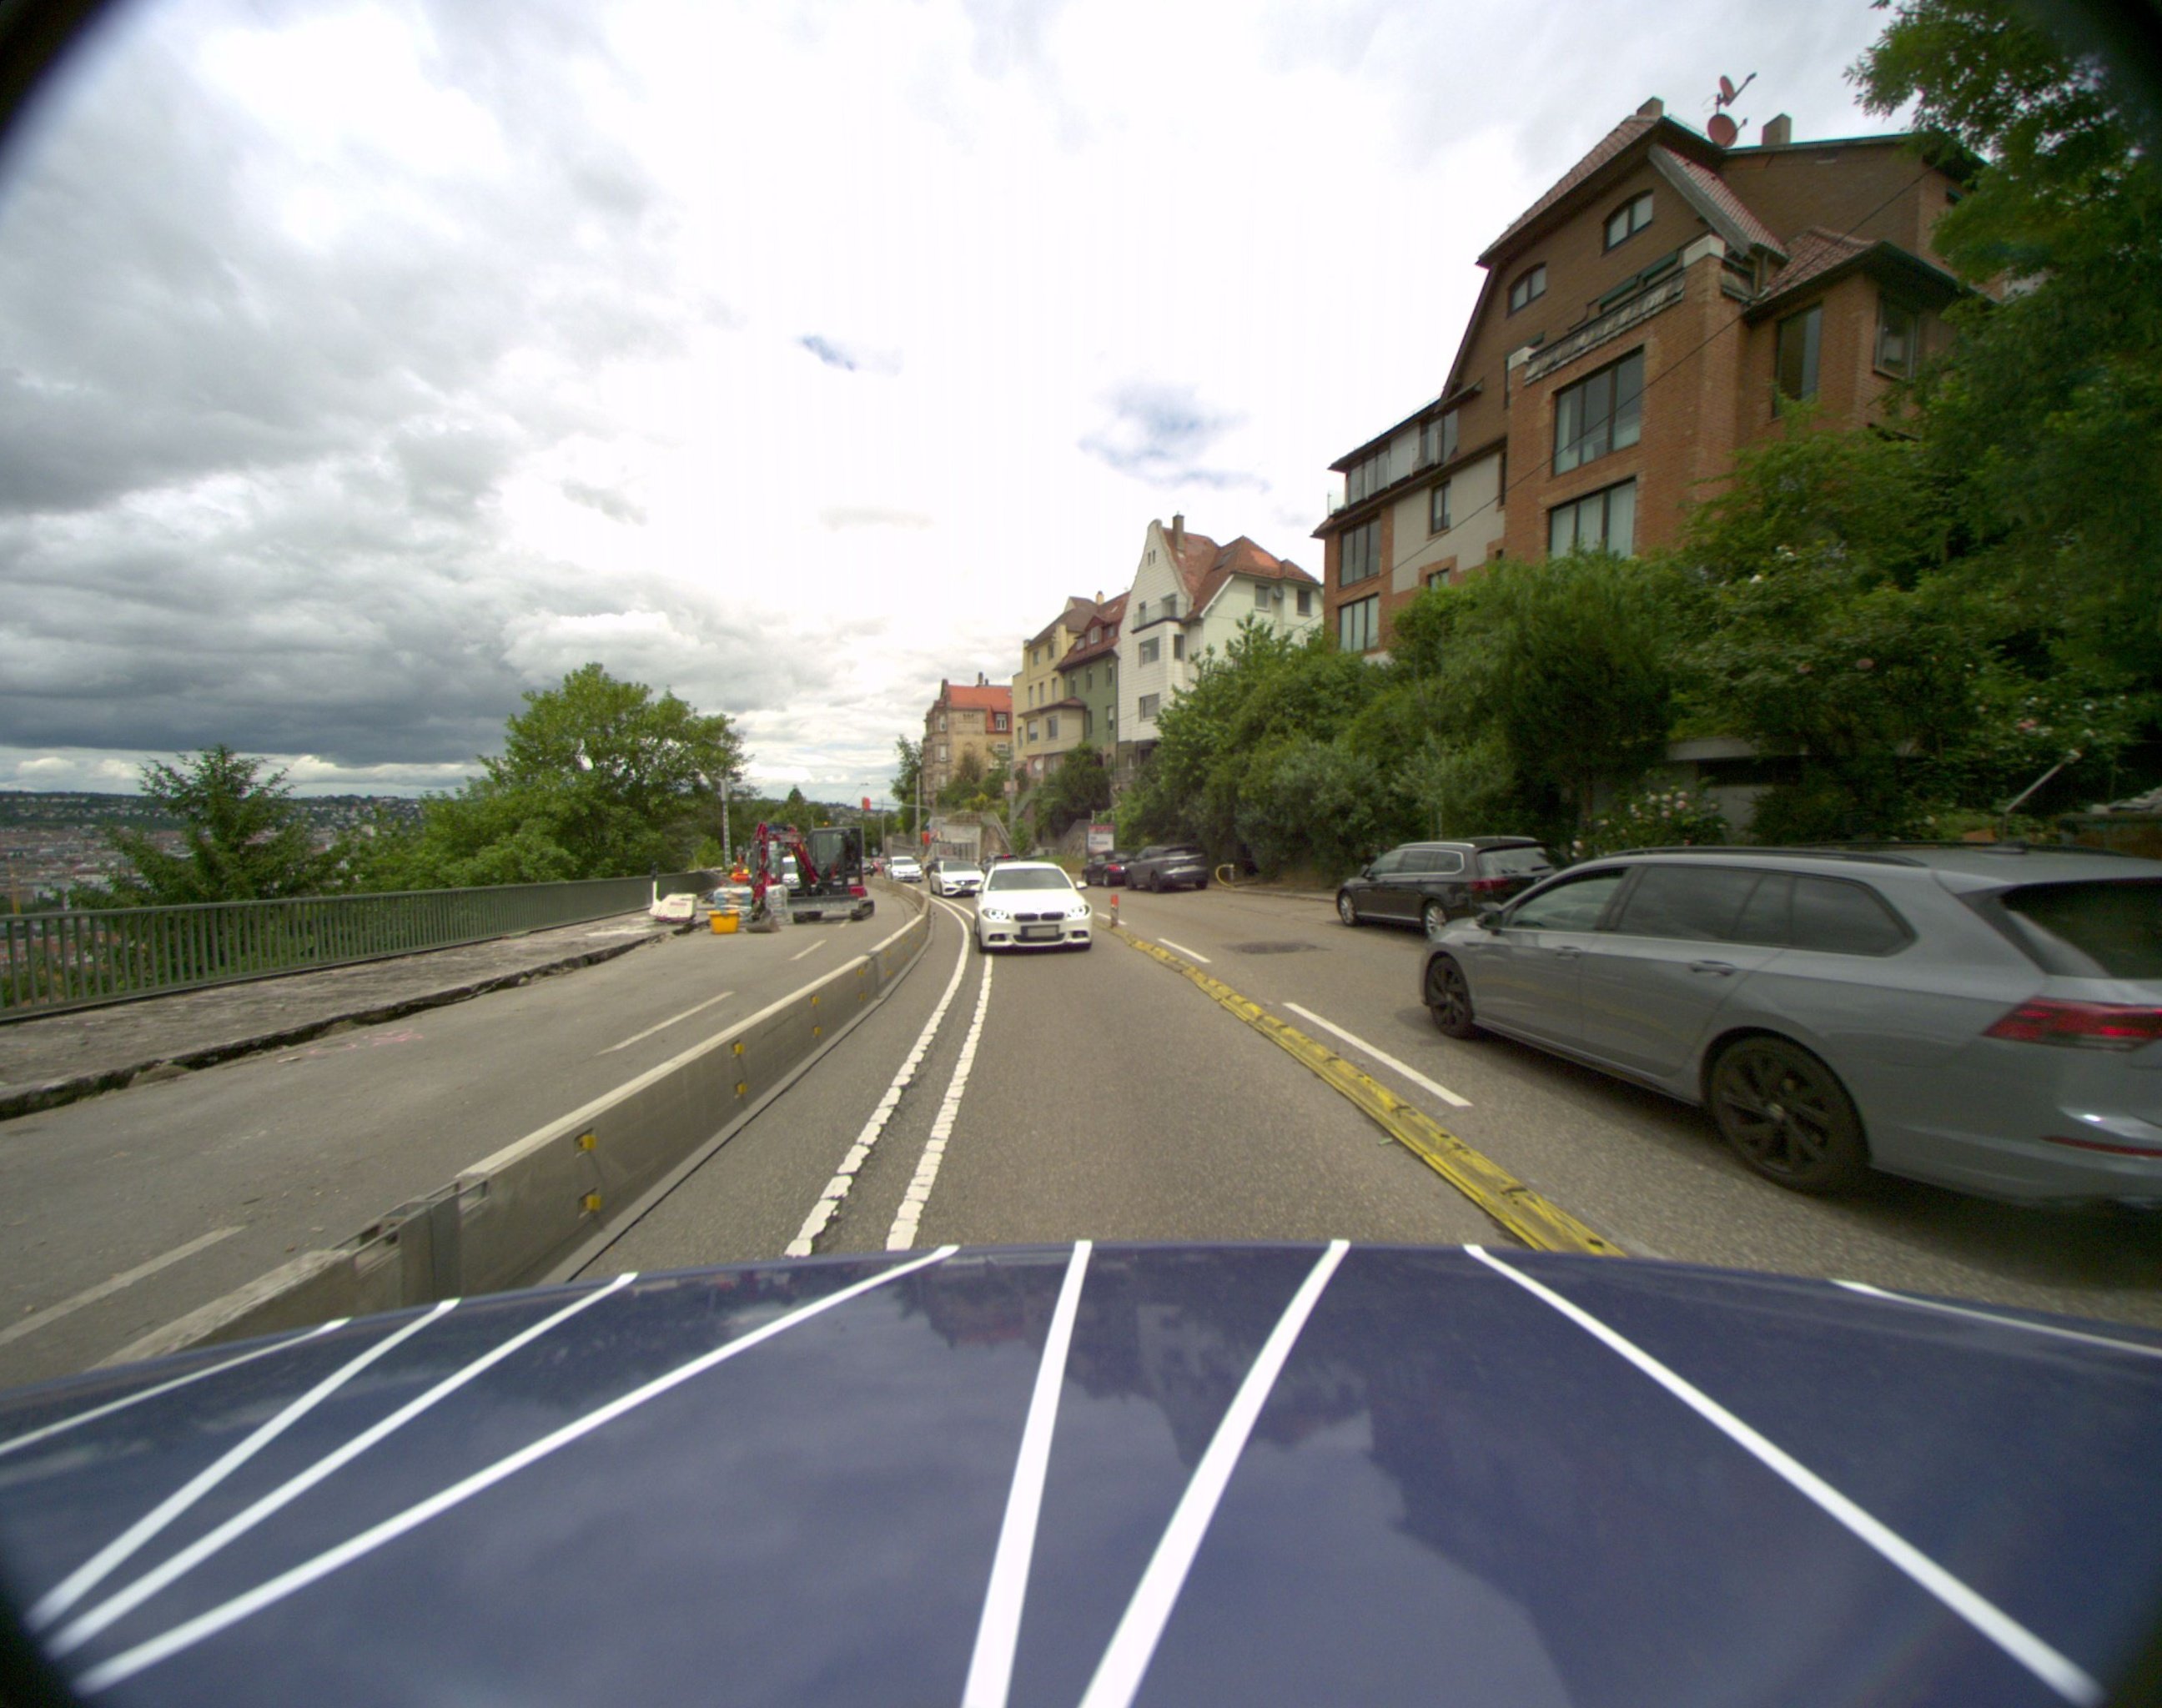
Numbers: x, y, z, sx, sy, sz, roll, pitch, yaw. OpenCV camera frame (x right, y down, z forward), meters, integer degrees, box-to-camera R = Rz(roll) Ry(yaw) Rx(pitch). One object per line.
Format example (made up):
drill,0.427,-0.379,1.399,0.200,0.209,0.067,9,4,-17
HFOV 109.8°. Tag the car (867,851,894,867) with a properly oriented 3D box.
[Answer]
car,-19.899,0.492,75.301,1.803,1.474,4.320,-4,2,-23

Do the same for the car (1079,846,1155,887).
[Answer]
car,1.435,0.498,32.015,1.801,1.502,3.993,-5,2,-19

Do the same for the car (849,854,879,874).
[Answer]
car,-17.830,0.792,62.303,1.802,1.501,3.992,1,0,-23

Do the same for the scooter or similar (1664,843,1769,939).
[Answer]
scooter or similar,8.750,0.480,10.510,0.417,1.225,1.121,-4,1,-3

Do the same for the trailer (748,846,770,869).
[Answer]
trailer,-37.256,0.411,87.949,2.116,2.535,5.109,0,0,-21

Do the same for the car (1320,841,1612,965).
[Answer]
car,5.668,0.599,12.017,1.741,1.443,4.680,-5,1,-7

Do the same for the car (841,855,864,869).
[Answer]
car,-26.004,0.856,86.383,1.804,1.438,4.352,-1,1,-27

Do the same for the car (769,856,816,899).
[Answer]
car,-13.031,1.003,34.443,1.840,1.769,4.261,-2,1,-20

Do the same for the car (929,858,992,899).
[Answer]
car,-4.874,0.911,30.308,1.795,1.472,4.238,-1,0,-18

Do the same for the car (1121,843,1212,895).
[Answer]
car,2.917,0.468,26.926,1.693,1.597,4.180,-4,2,-15

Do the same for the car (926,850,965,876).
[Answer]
car,-9.030,0.584,50.394,1.774,1.559,4.222,-3,1,-20

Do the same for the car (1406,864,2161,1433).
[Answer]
car,3.690,0.827,4.169,1.772,1.427,4.307,-1,0,-3

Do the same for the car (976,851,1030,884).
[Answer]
car,-4.066,0.672,39.137,1.775,1.509,4.018,-3,1,-21

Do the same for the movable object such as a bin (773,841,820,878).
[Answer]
movable object such as a bin,-25.956,0.488,69.122,2.824,3.053,7.805,-3,1,-28

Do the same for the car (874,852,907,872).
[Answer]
car,-16.468,0.707,65.502,1.775,1.559,4.220,-3,1,-27

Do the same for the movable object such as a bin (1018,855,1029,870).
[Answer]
movable object such as a bin,-3.743,0.557,49.430,0.470,0.929,0.623,-4,2,-25

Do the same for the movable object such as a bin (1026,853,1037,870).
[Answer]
movable object such as a bin,-3.262,0.481,49.645,0.470,1.048,0.623,-4,2,-25

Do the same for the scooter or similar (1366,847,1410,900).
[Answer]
scooter or similar,7.369,0.459,18.271,0.350,1.206,1.044,-5,1,-14

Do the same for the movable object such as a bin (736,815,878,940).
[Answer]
movable object such as a bin,-6.637,0.492,19.103,2.218,2.647,4.941,-2,1,-7

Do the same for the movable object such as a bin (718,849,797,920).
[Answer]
movable object such as a bin,-9.926,0.850,23.572,1.708,1.931,4.158,-2,1,-16

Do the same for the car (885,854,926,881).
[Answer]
car,-10.815,0.822,46.558,1.795,1.542,4.237,-1,0,-22

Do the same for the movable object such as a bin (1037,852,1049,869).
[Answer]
movable object such as a bin,-2.506,0.434,50.058,0.470,1.048,0.623,-4,2,-25

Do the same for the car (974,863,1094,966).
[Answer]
car,-0.969,0.938,13.715,1.793,1.472,4.242,-1,0,-7
